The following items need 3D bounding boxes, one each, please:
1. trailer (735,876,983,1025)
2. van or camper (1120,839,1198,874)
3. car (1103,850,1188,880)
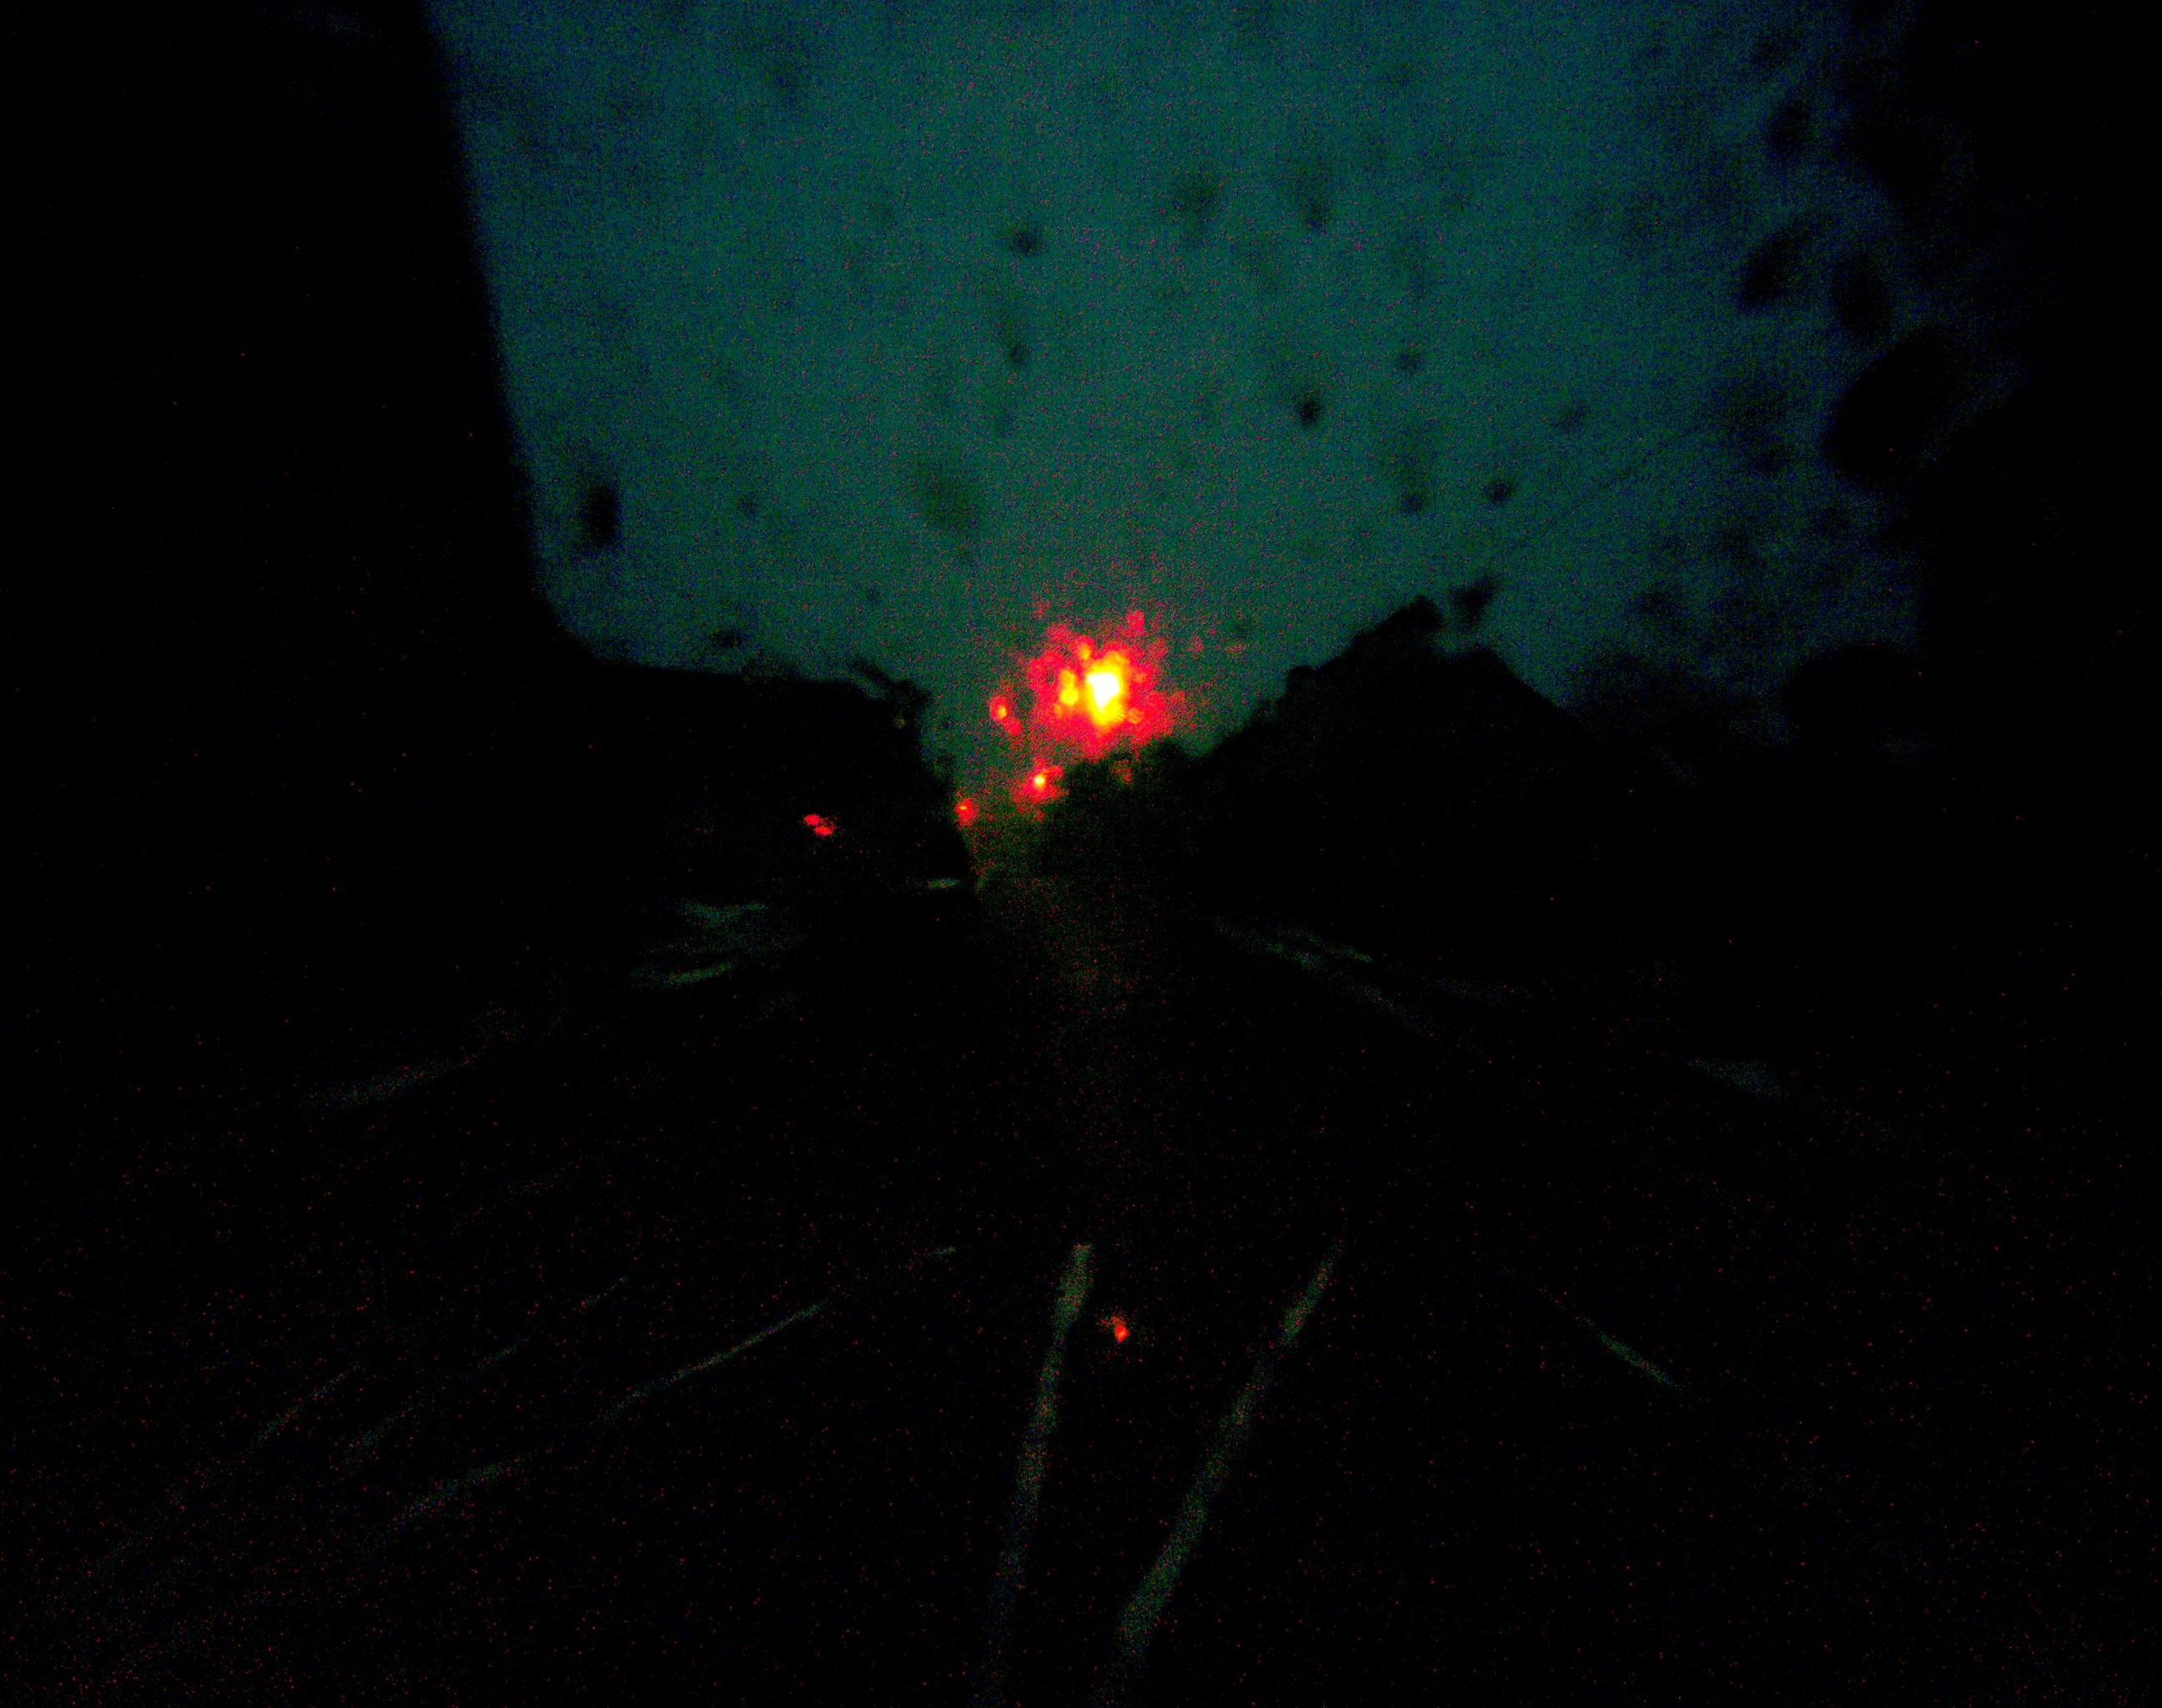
[{"bbox_3d":[-2.642,1.088,10.382,1.999,1.380,4.731,-1,0,0],"label":"trailer"},{"bbox_3d":[5.650,0.180,54.868,5.314,2.434,2.140,0,0,-30],"label":"van or camper"},{"bbox_3d":[3.797,0.659,45.382,4.804,1.656,1.891,0,-3,-2],"label":"car"}]
